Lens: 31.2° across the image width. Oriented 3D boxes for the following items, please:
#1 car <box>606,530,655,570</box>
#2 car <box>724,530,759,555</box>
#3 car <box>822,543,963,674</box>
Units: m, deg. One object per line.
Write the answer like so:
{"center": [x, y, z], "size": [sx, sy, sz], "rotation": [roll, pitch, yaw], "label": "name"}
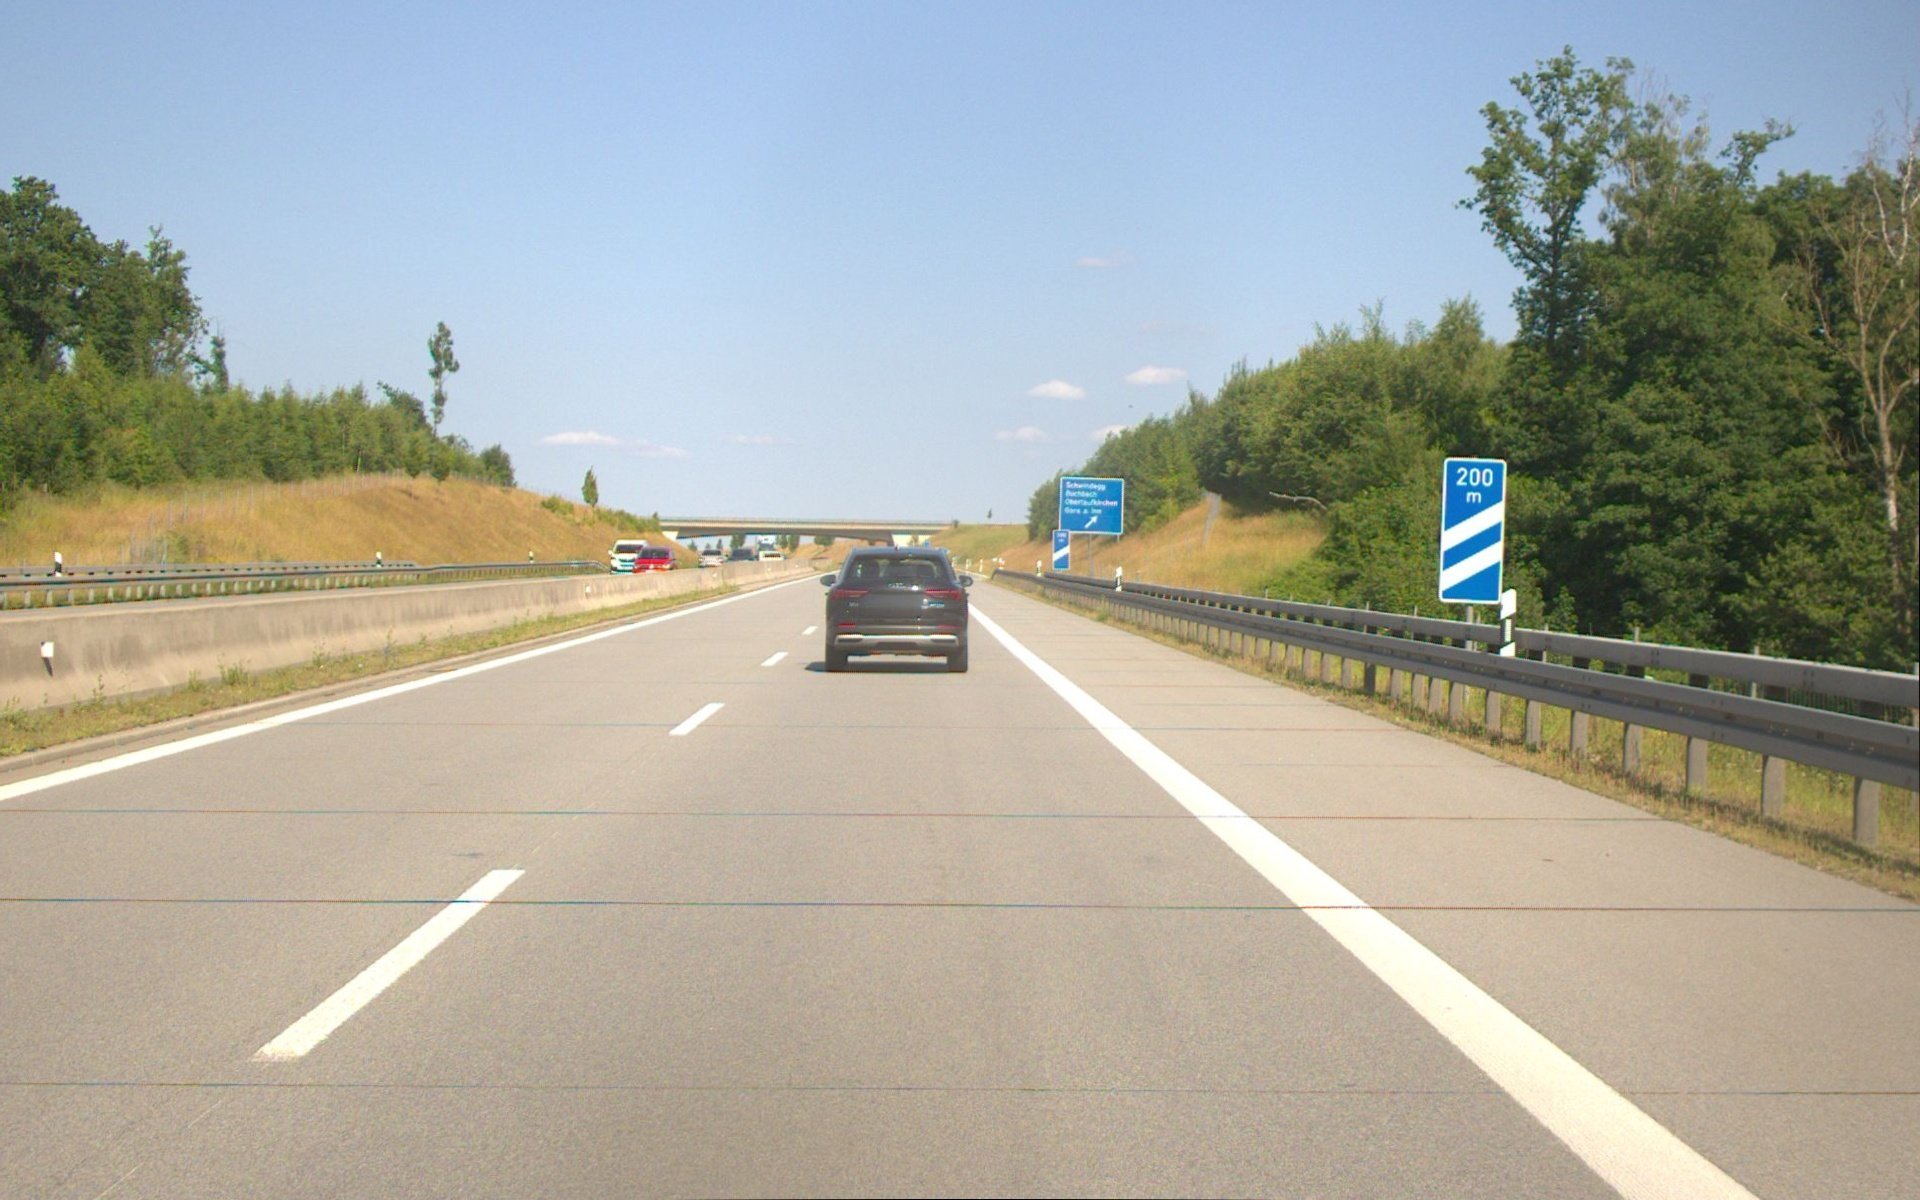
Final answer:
{"center": [-17.290, -2.643, 180.835], "size": [1.993, 2.076, 6.228], "rotation": [1, 1, 0], "label": "car"}
{"center": [-14.230, -3.756, 224.491], "size": [1.993, 1.576, 4.650], "rotation": [1, 1, 0], "label": "car"}
{"center": [-0.852, 0.060, 45.055], "size": [1.722, 1.582, 5.222], "rotation": [1, 1, 0], "label": "car"}
